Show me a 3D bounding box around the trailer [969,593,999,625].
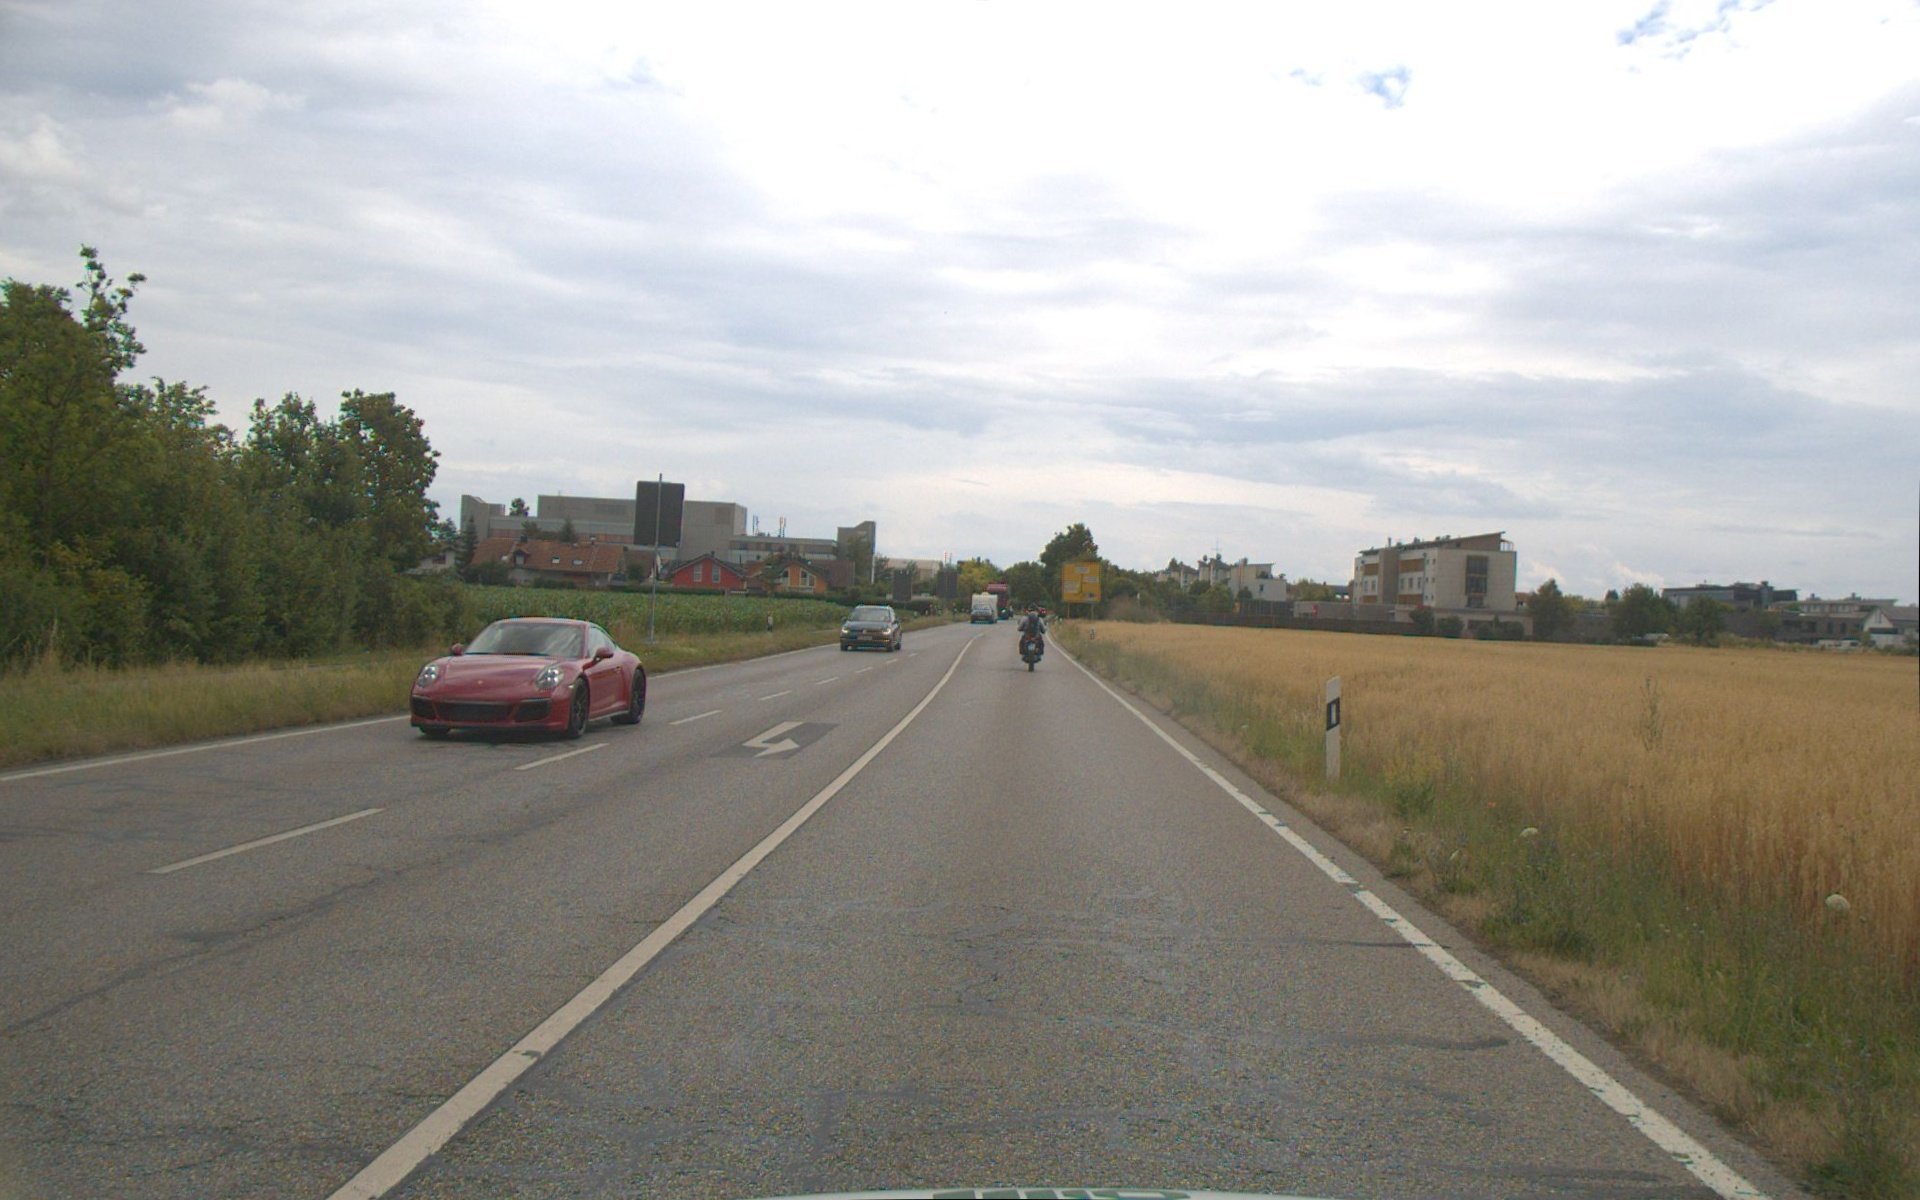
[{"bbox_3d":[2.255,0.851,151.351,2.276,2.777,7.846,2,0,3],"label":"trailer"}]

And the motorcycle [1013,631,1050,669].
[{"bbox_3d":[1.899,1.322,44.093,0.921,0.905,2.146,2,0,3],"label":"motorcycle"}]

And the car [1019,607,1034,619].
[{"bbox_3d":[8.761,1.731,218.232,1.816,1.498,4.001,2,0,3],"label":"car"}]

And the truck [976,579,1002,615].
[{"bbox_3d":[3.384,-0.348,193.041,2.672,4.057,6.818,2,0,3],"label":"truck"}]

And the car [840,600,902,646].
[{"bbox_3d":[-2.930,0.742,55.084,1.634,1.454,4.304,1,0,2],"label":"car"}]

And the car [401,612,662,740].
[{"bbox_3d":[-4.883,0.809,19.474,1.734,1.262,4.213,2,0,3],"label":"car"}]

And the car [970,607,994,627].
[{"bbox_3d":[1.961,1.483,145.555,1.952,1.729,4.677,2,0,2],"label":"car"}]

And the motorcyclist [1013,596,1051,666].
[{"bbox_3d":[1.917,0.819,44.047,0.921,1.780,1.201,2,-1,3],"label":"motorcyclist"}]
